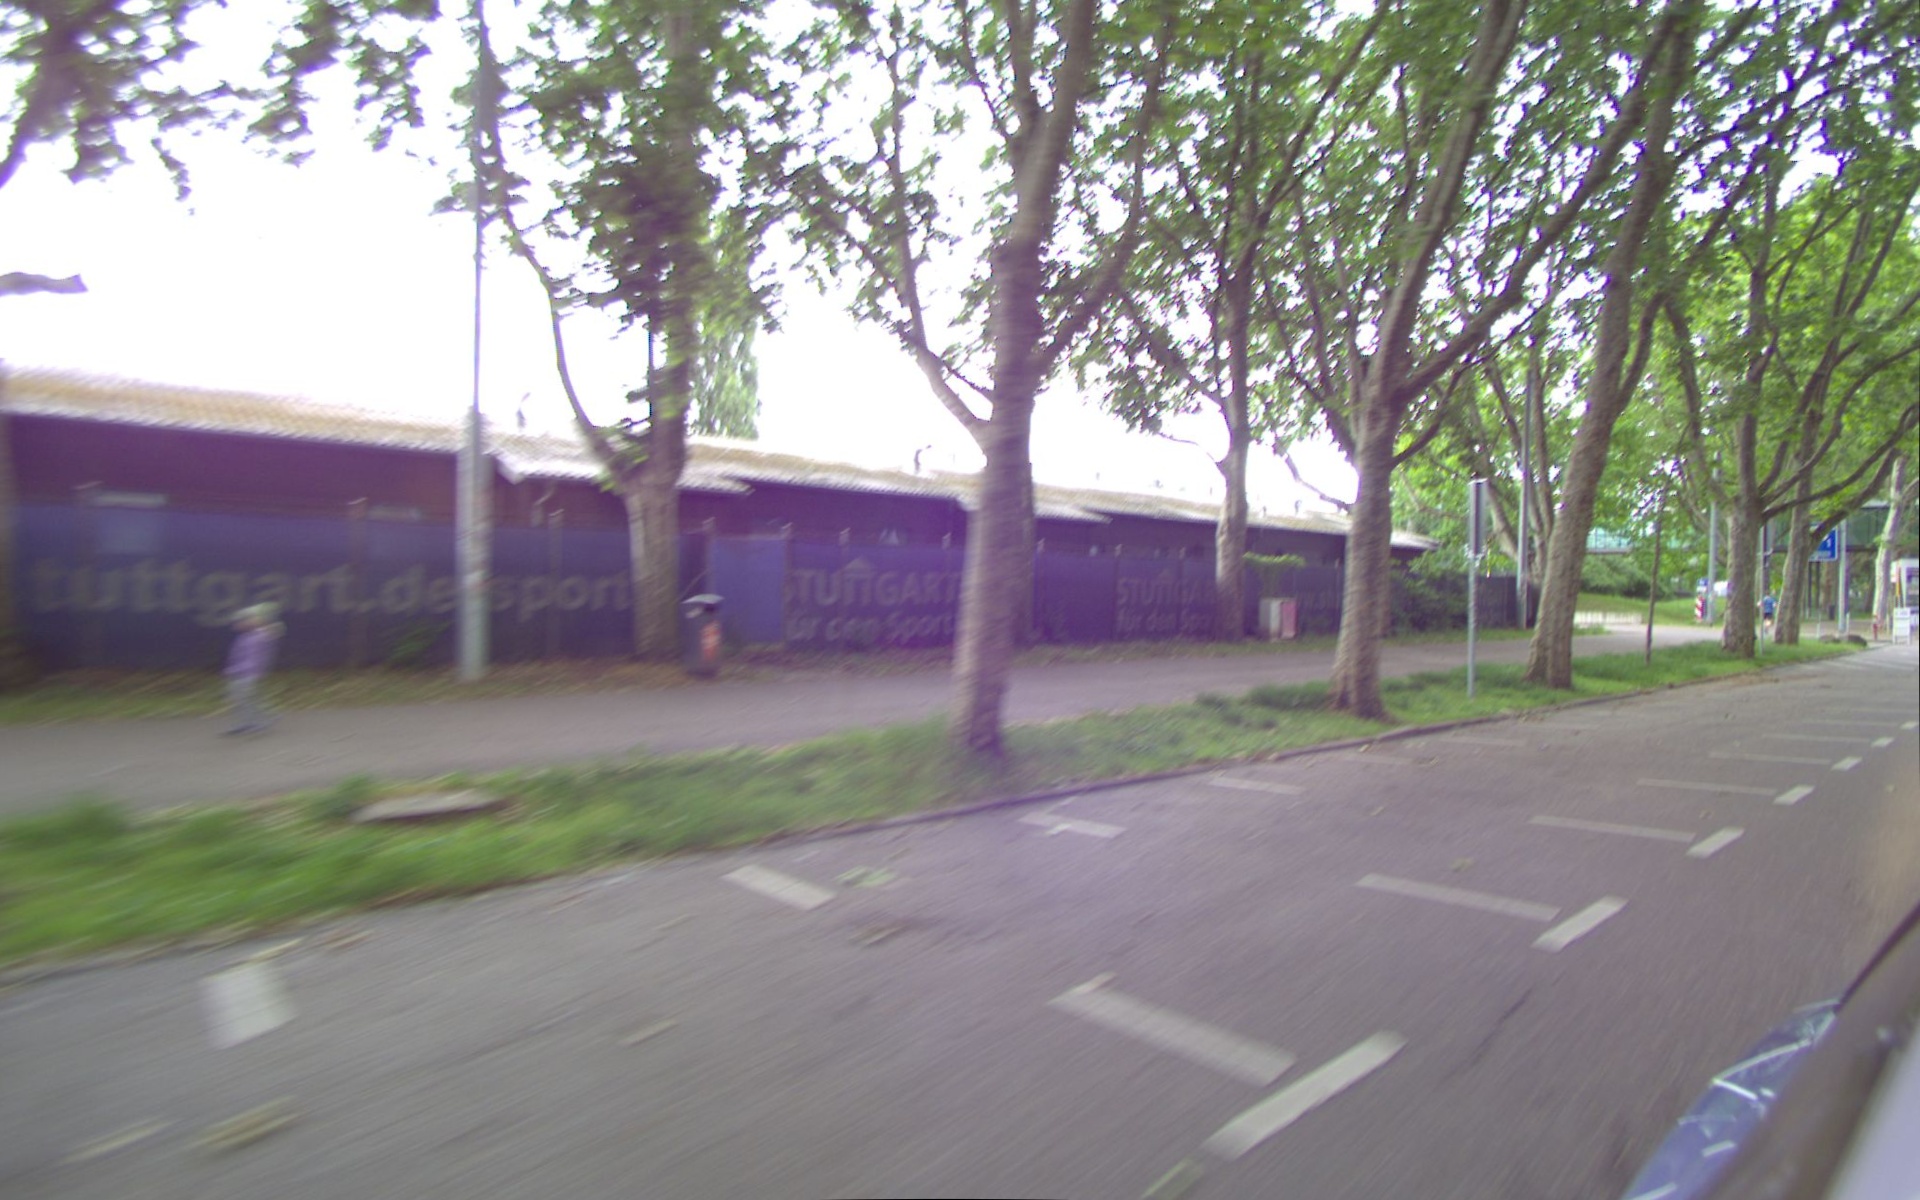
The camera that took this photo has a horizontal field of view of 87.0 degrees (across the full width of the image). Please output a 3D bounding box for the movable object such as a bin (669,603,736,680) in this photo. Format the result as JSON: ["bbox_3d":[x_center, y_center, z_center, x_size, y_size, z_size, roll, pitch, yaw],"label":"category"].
[{"bbox_3d":[-3.529,0.552,13.876,0.663,0.970,0.569,0,6,-42],"label":"movable object such as a bin"}]

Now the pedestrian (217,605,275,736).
[{"bbox_3d":[-6.361,0.611,9.011,0.411,1.097,0.397,0,3,-37],"label":"pedestrian"}]

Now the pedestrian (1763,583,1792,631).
[{"bbox_3d":[34.954,0.280,43.284,0.864,2.039,0.712,0,0,-32],"label":"pedestrian"}]
